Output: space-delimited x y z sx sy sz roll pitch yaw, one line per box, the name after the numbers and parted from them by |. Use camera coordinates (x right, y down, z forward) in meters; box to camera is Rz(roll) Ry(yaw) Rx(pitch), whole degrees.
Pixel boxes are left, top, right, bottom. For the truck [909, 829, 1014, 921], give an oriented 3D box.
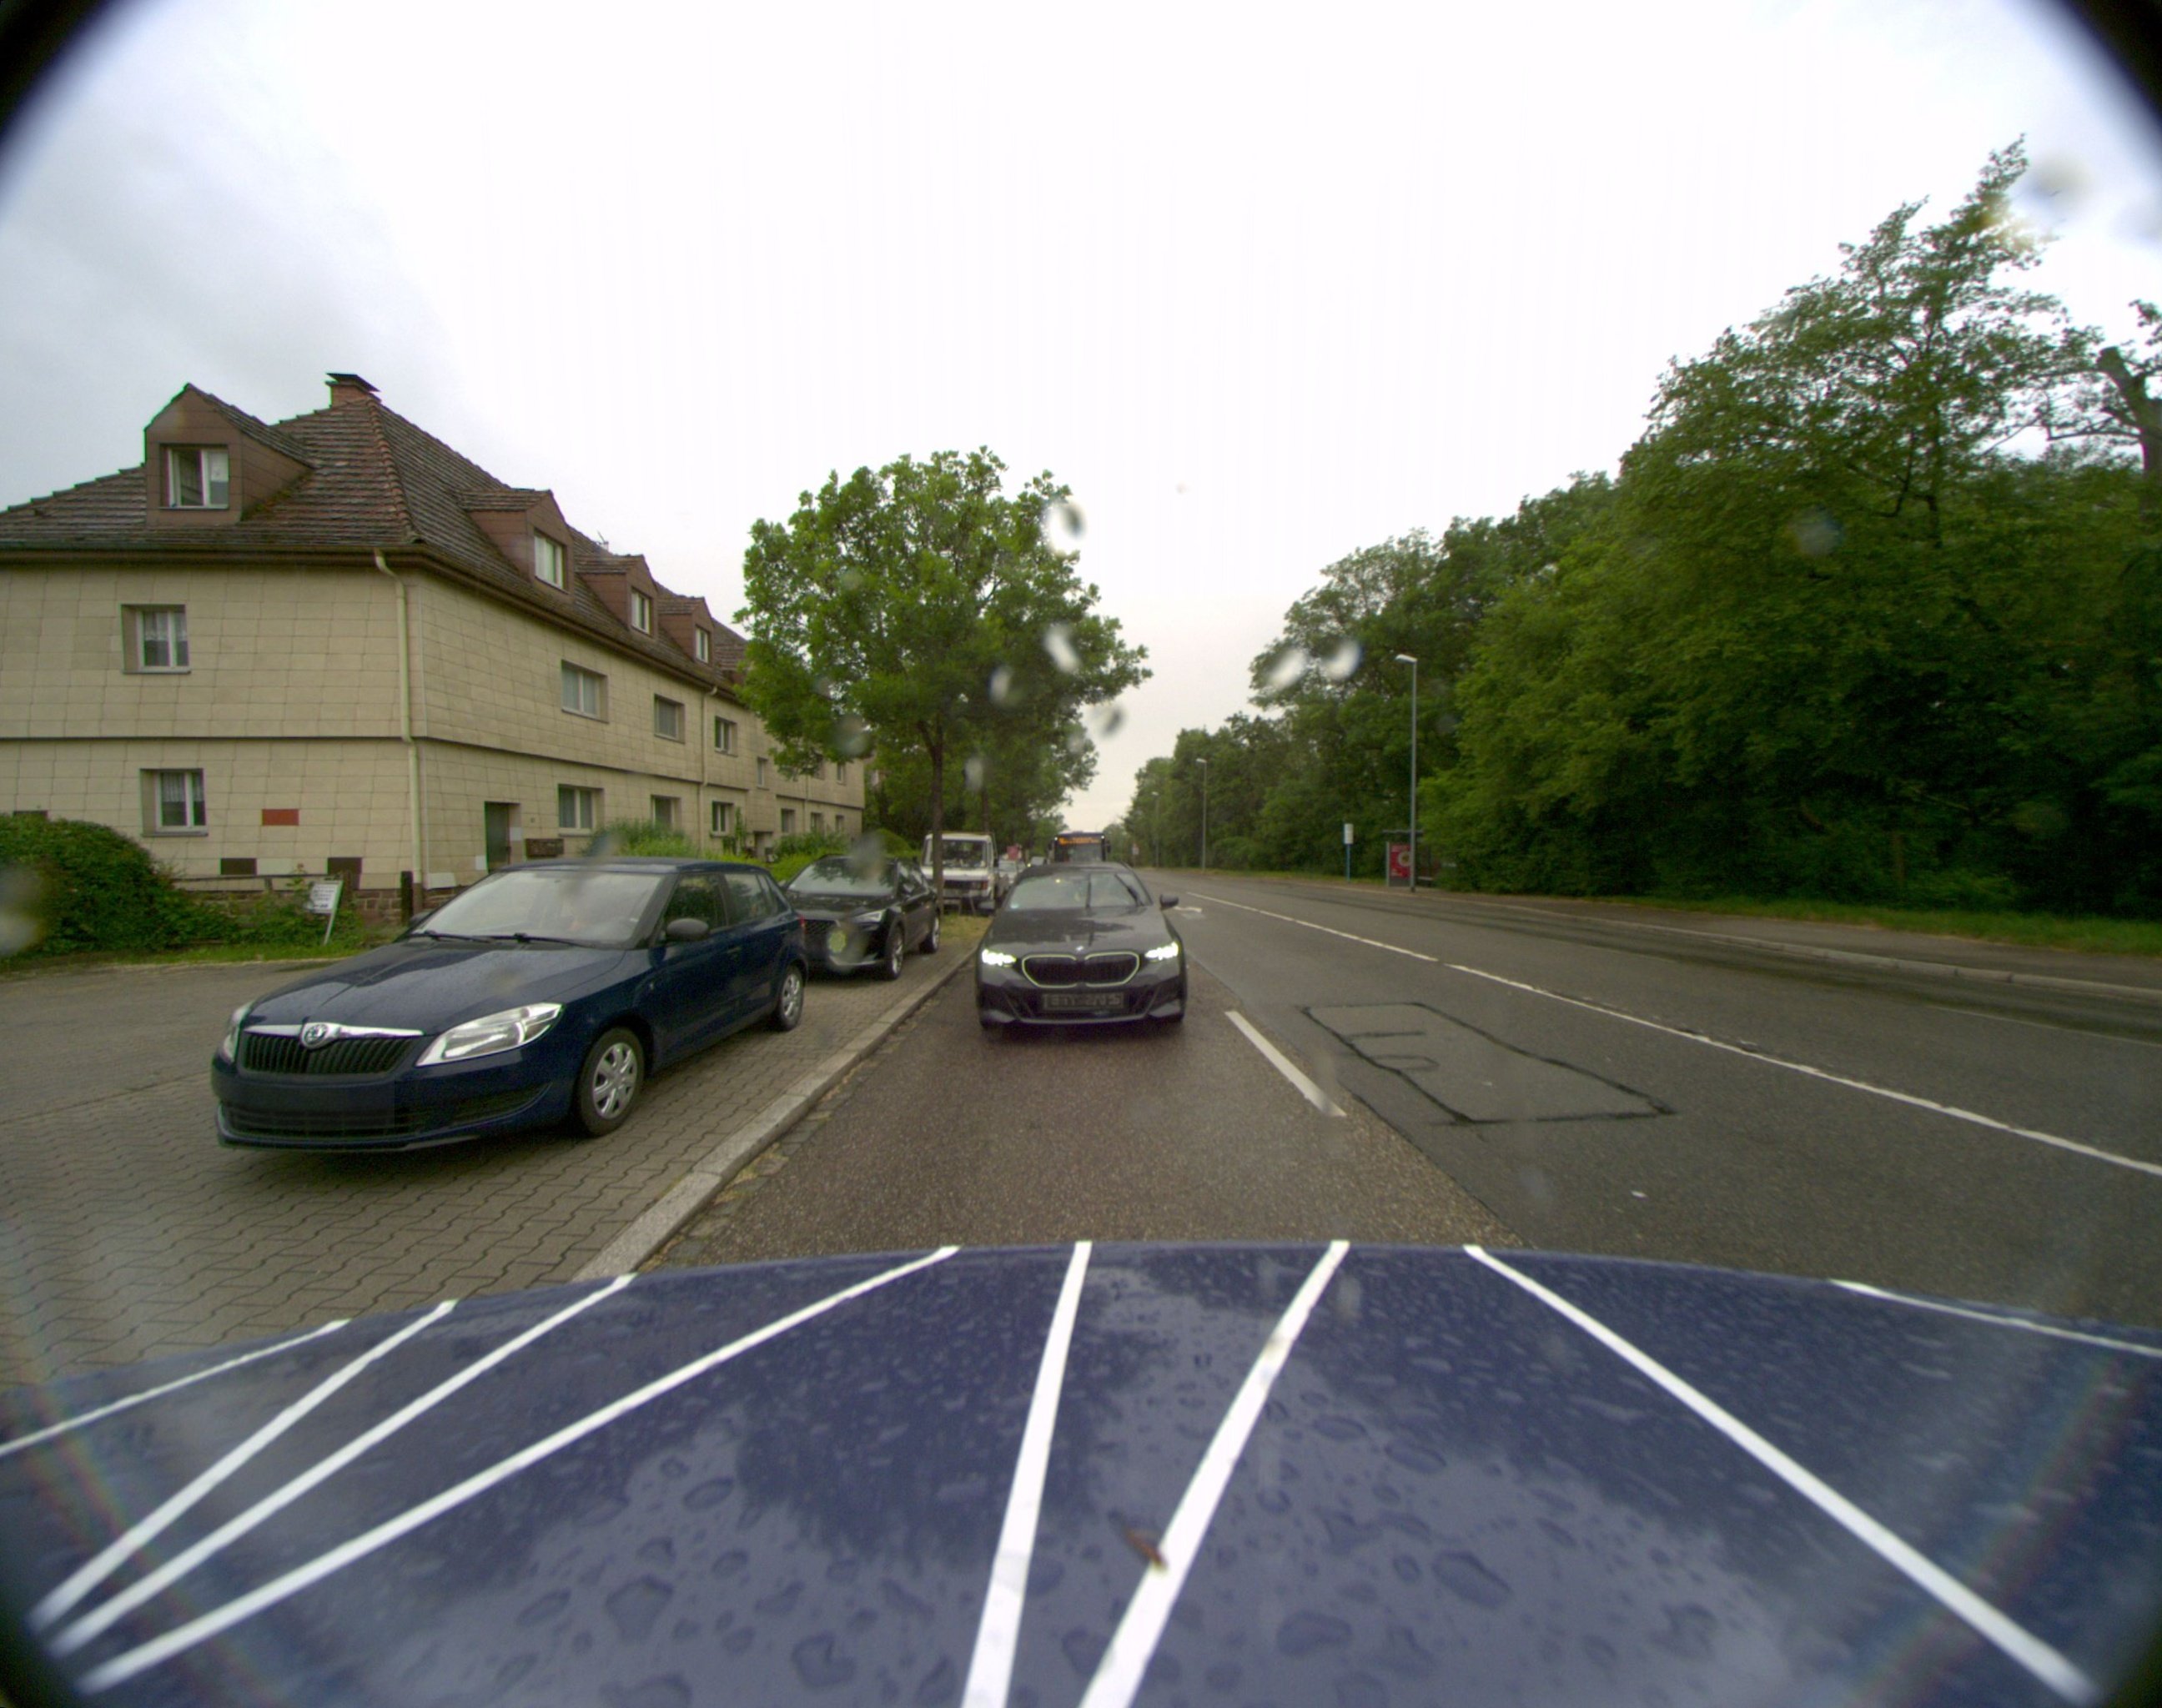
-3.233 0.522 22.044 2.085 2.208 6.500 2 0 -1 | truck

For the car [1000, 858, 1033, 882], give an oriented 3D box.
-3.937 0.961 46.918 1.692 1.381 4.499 1 0 -1 | car

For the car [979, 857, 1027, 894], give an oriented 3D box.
-3.336 0.940 33.136 1.605 1.427 4.022 2 -2 0 | car

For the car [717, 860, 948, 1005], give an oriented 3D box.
-3.059 0.866 10.323 1.718 1.490 4.183 2 0 0 | car

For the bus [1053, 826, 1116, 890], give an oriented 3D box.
0.387 0.185 40.070 2.562 2.942 9.453 -1 0 5 | bus

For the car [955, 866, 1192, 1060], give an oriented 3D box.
-0.075 0.903 8.295 1.855 1.461 4.483 -1 0 0 | car

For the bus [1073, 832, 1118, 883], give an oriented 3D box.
0.843 0.209 48.441 2.562 2.942 8.557 -1 0 0 | bus

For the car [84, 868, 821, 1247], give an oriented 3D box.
-3.231 0.861 5.026 1.608 1.463 3.856 1 0 1 | car
